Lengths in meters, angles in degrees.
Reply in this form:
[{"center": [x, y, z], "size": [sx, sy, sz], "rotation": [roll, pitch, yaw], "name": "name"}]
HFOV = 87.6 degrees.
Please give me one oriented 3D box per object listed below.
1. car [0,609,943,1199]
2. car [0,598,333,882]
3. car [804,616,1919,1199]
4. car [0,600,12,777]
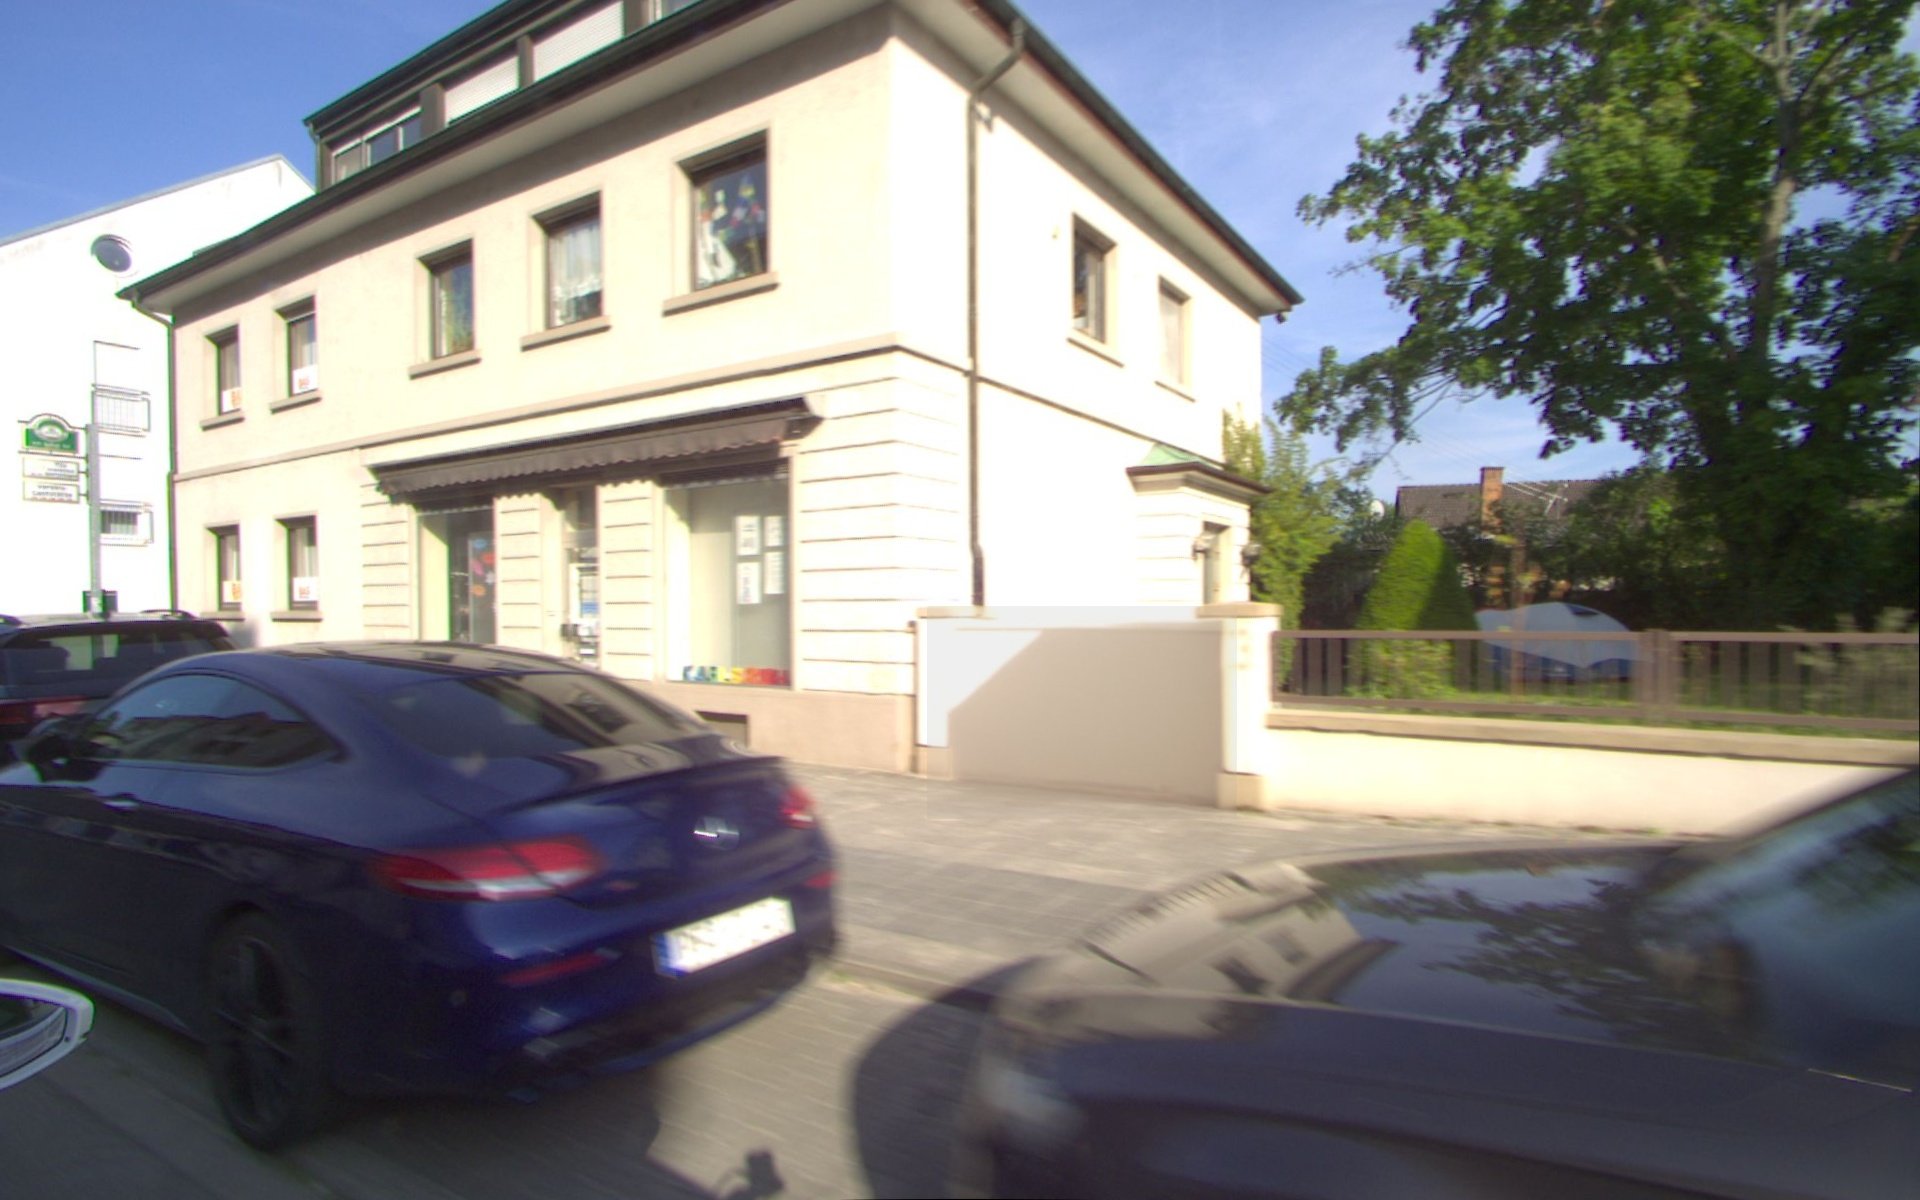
[{"center": [-2.457, 0.783, 4.175], "size": [4.544, 1.439, 1.825], "rotation": [-1, 1, 33], "name": "car"}, {"center": [-6.742, 0.801, 7.452], "size": [4.255, 1.581, 1.826], "rotation": [-1, 1, 32], "name": "car"}, {"center": [2.079, 0.753, 1.242], "size": [4.431, 1.439, 1.776], "rotation": [0, 0, 32], "name": "car"}, {"center": [-11.254, 0.855, 9.885], "size": [4.401, 1.652, 1.824], "rotation": [0, 1, 34], "name": "car"}]
